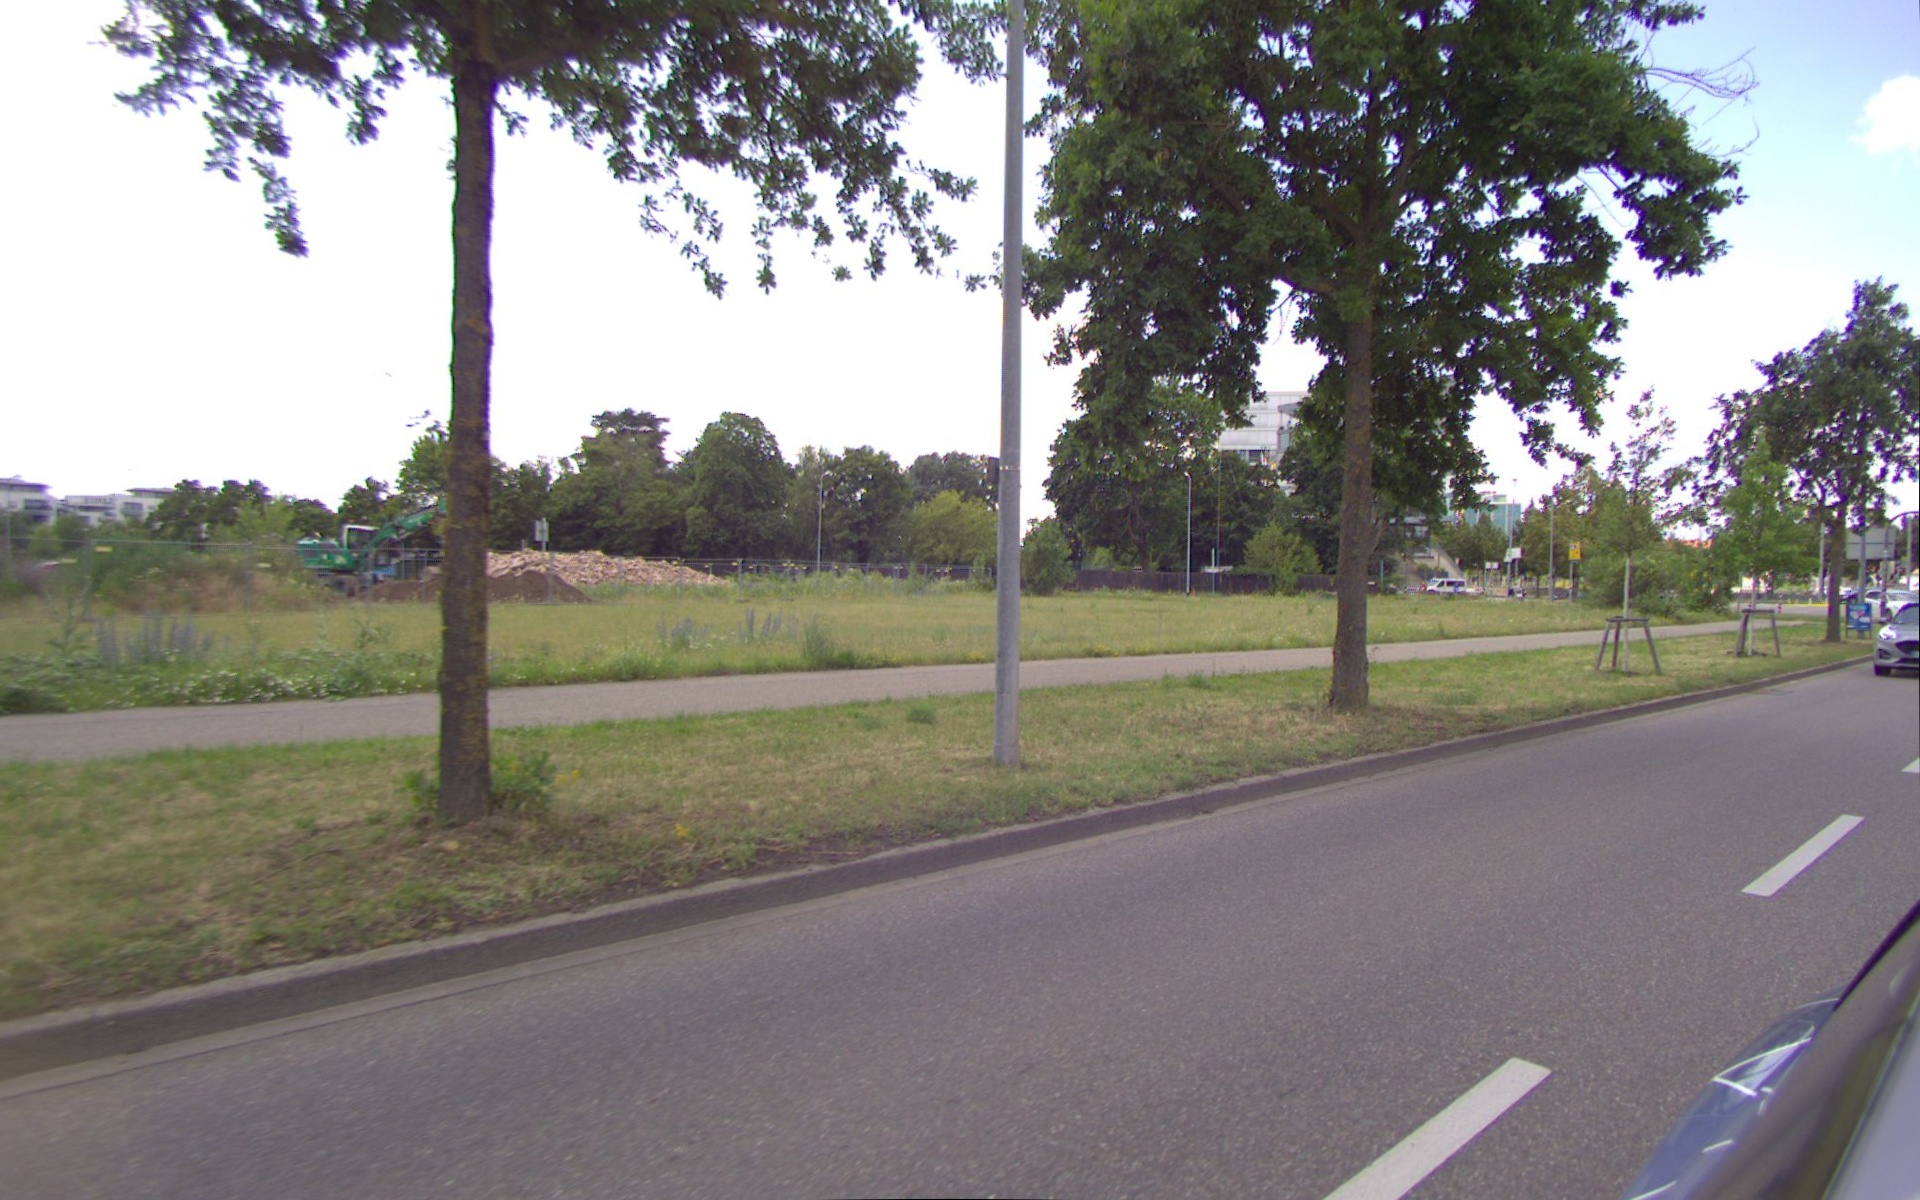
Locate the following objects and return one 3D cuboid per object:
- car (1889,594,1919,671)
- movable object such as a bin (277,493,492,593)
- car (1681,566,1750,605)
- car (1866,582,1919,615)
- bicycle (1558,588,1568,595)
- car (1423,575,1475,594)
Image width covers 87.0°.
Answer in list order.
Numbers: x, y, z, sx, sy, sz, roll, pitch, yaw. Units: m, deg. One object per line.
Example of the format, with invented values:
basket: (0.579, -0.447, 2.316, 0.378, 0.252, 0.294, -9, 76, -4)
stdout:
car: (20.654, 0.649, 20.947, 4.022, 1.489, 1.672, -1, 2, -42)
movable object such as a bin: (-24.417, -2.356, 43.142, 7.479, 3.900, 3.047, -1, 1, 4)
car: (60.974, -1.198, 81.843, 2.257, 2.888, 7.210, 3, 2, 19)
car: (49.041, -0.101, 52.388, 1.653, 1.619, 4.103, -1, 1, 19)
bicycle: (70.489, -1.039, 118.387, 0.352, 0.836, 1.473, 1, 1, 2)
car: (56.680, -1.811, 117.349, 5.044, 2.174, 2.153, 0, 1, -11)
